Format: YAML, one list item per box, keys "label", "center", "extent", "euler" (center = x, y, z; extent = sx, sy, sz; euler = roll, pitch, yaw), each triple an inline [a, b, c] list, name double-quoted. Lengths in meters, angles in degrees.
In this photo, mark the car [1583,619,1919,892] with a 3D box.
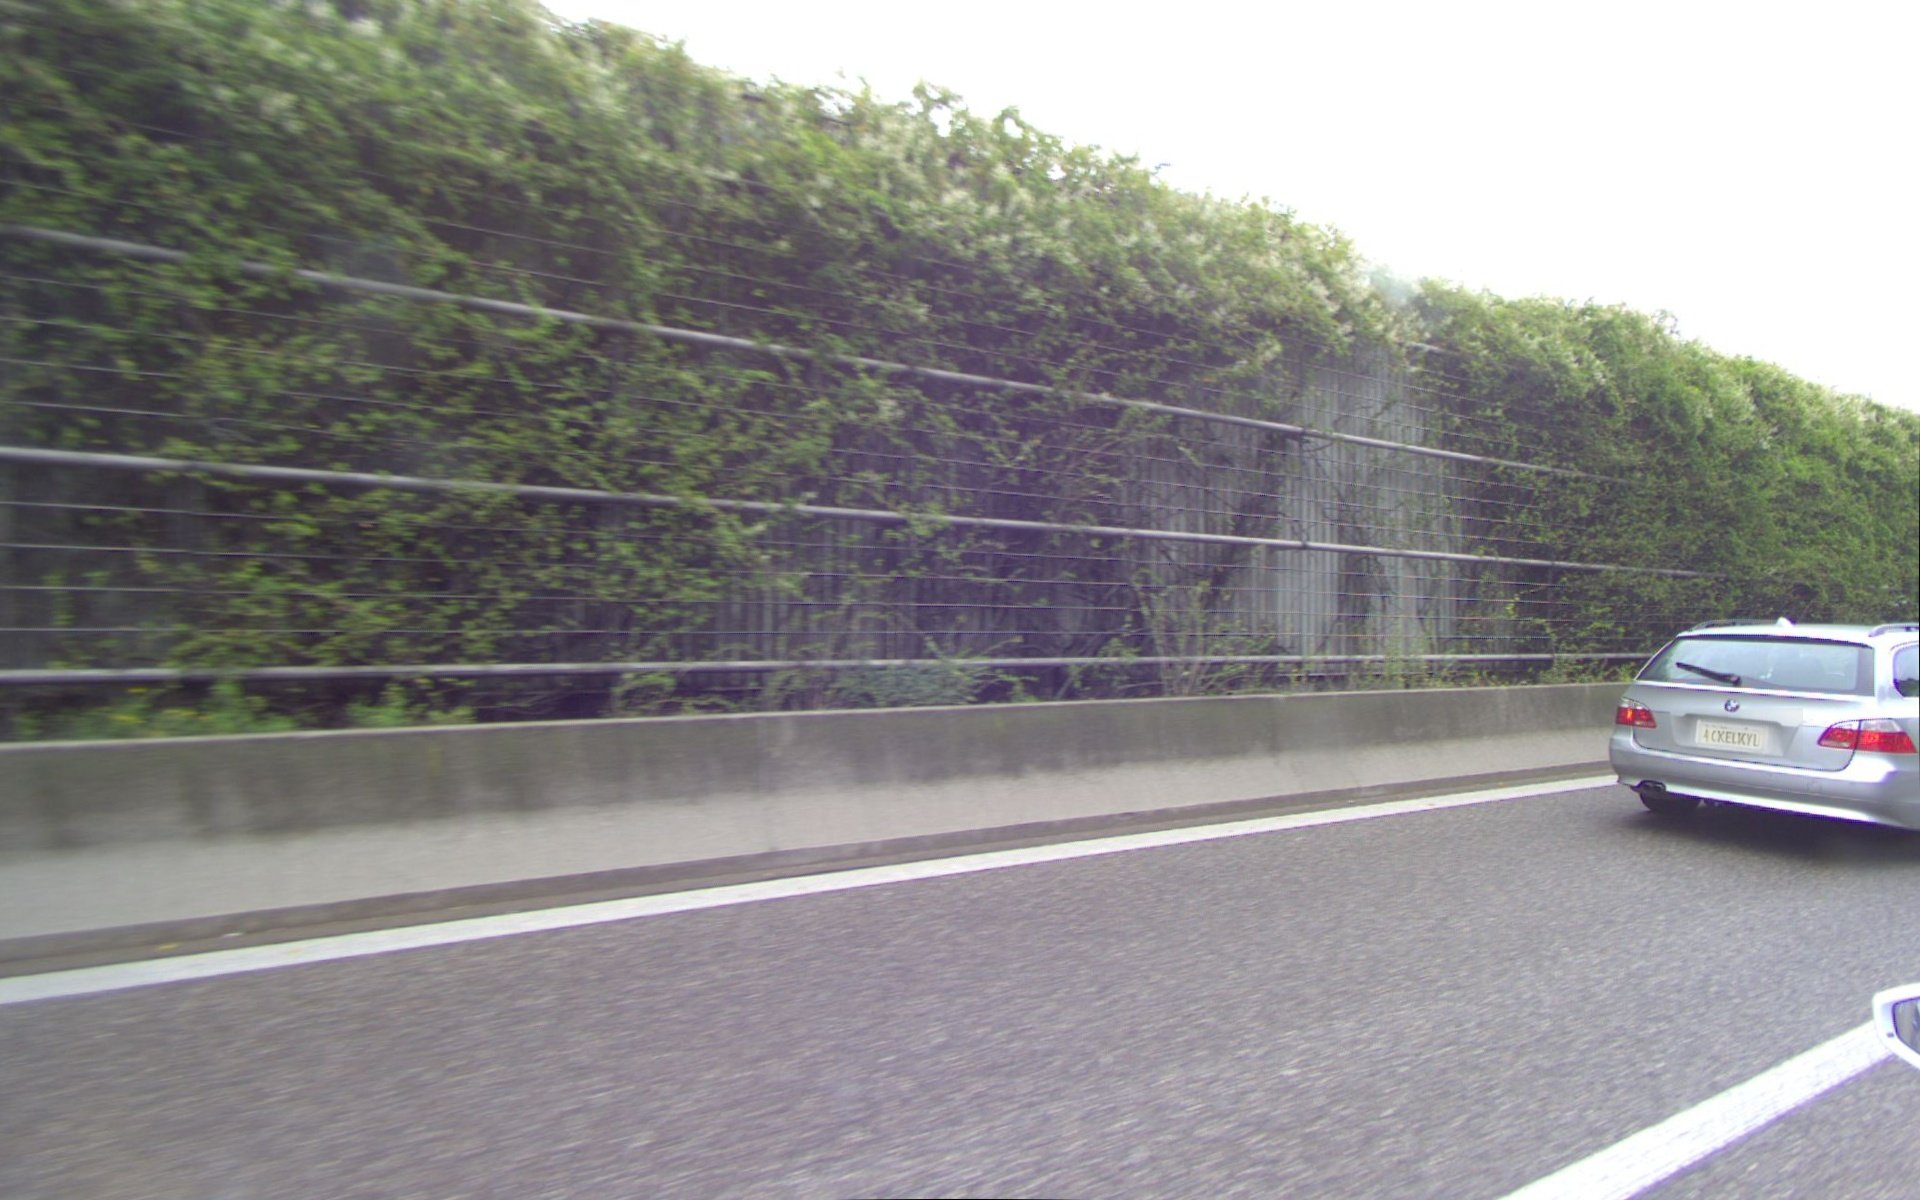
- label: "car"
  center: [7.005, 0.921, 7.655]
  extent: [4.971, 1.489, 1.712]
  euler: [1, 0, -30]
